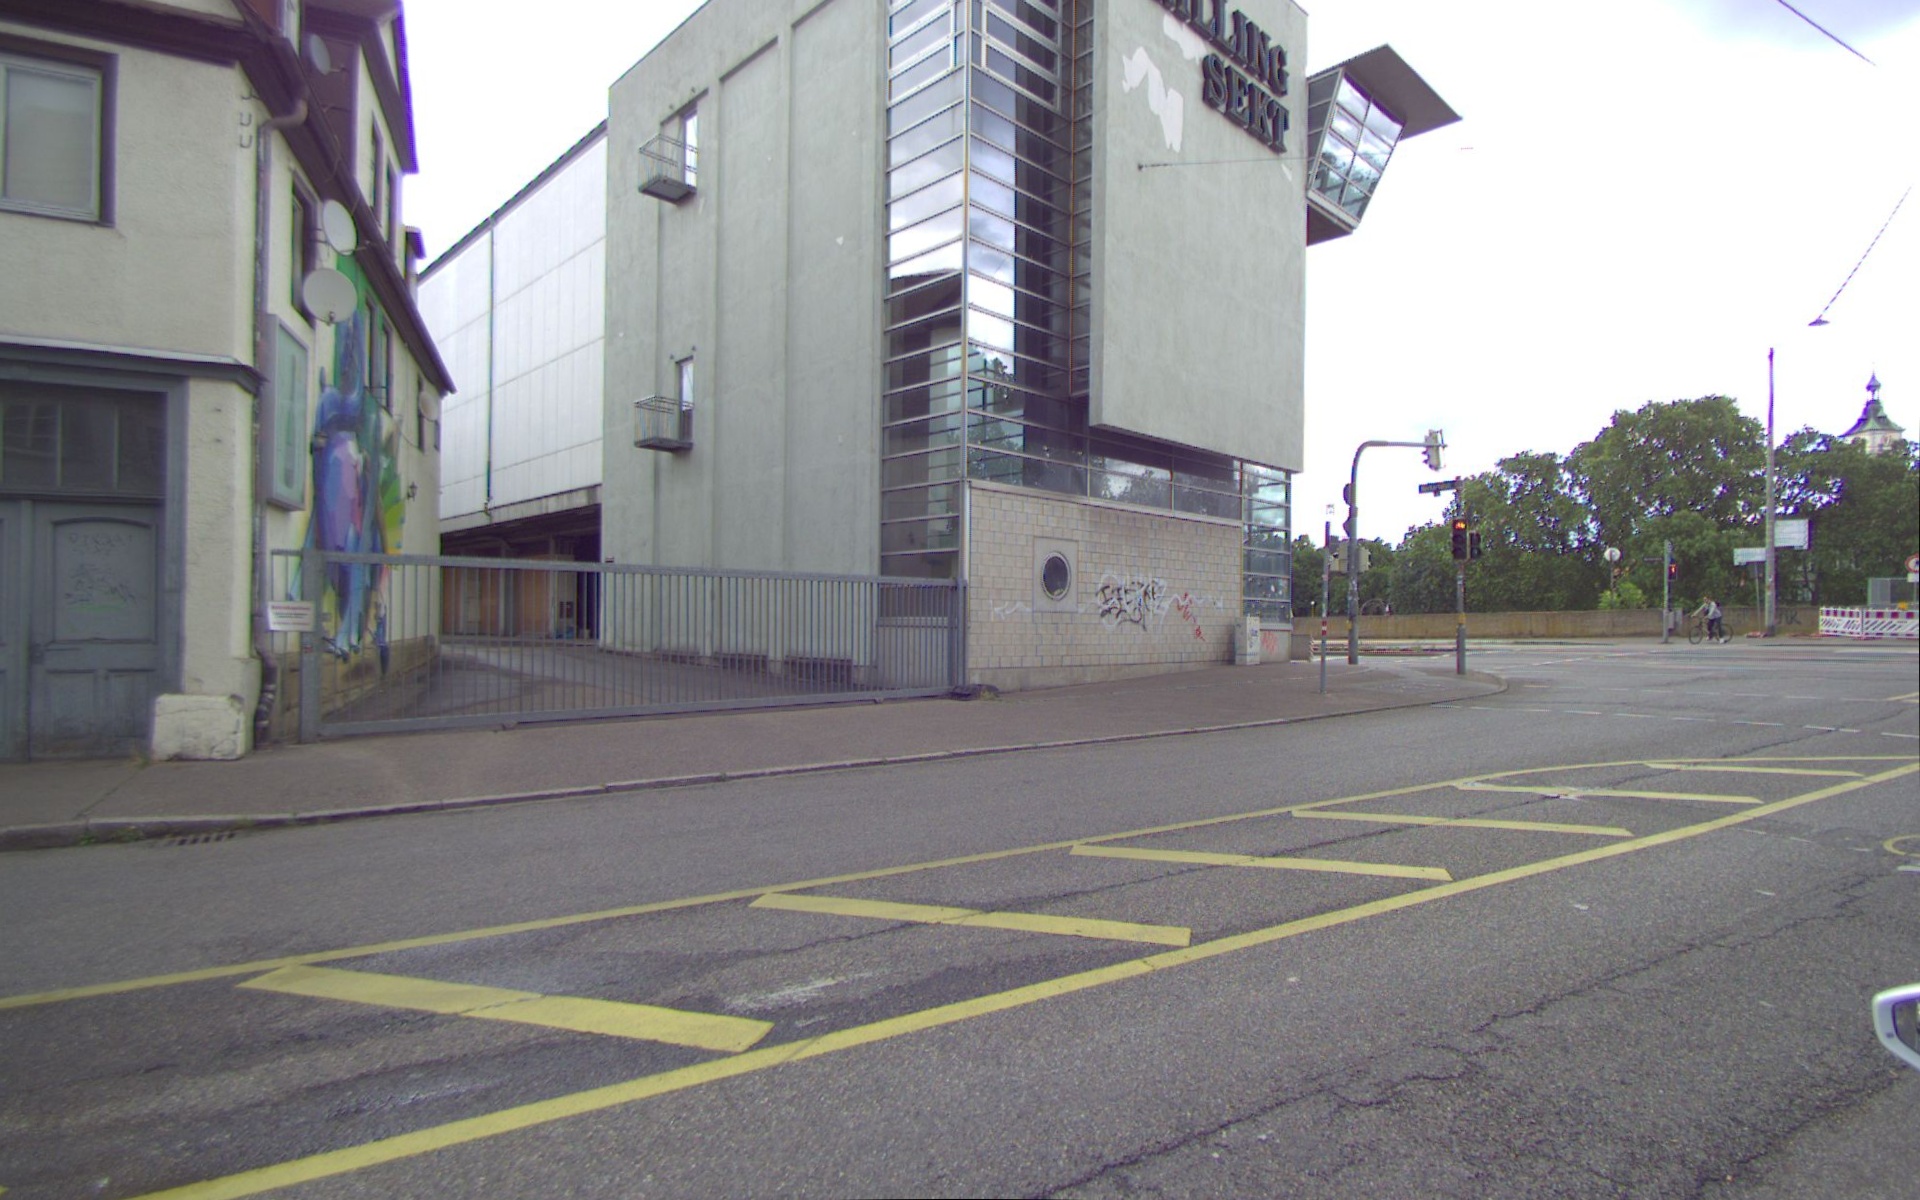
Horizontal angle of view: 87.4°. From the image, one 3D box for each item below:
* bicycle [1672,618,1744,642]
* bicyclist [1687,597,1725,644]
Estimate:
[{"bbox_3d":[28.805,1.151,38.721,2.095,0.904,0.760,-1,0,18],"label":"bicycle"},{"bbox_3d":[28.758,0.782,38.725,0.985,1.767,0.755,0,0,19],"label":"bicyclist"}]
